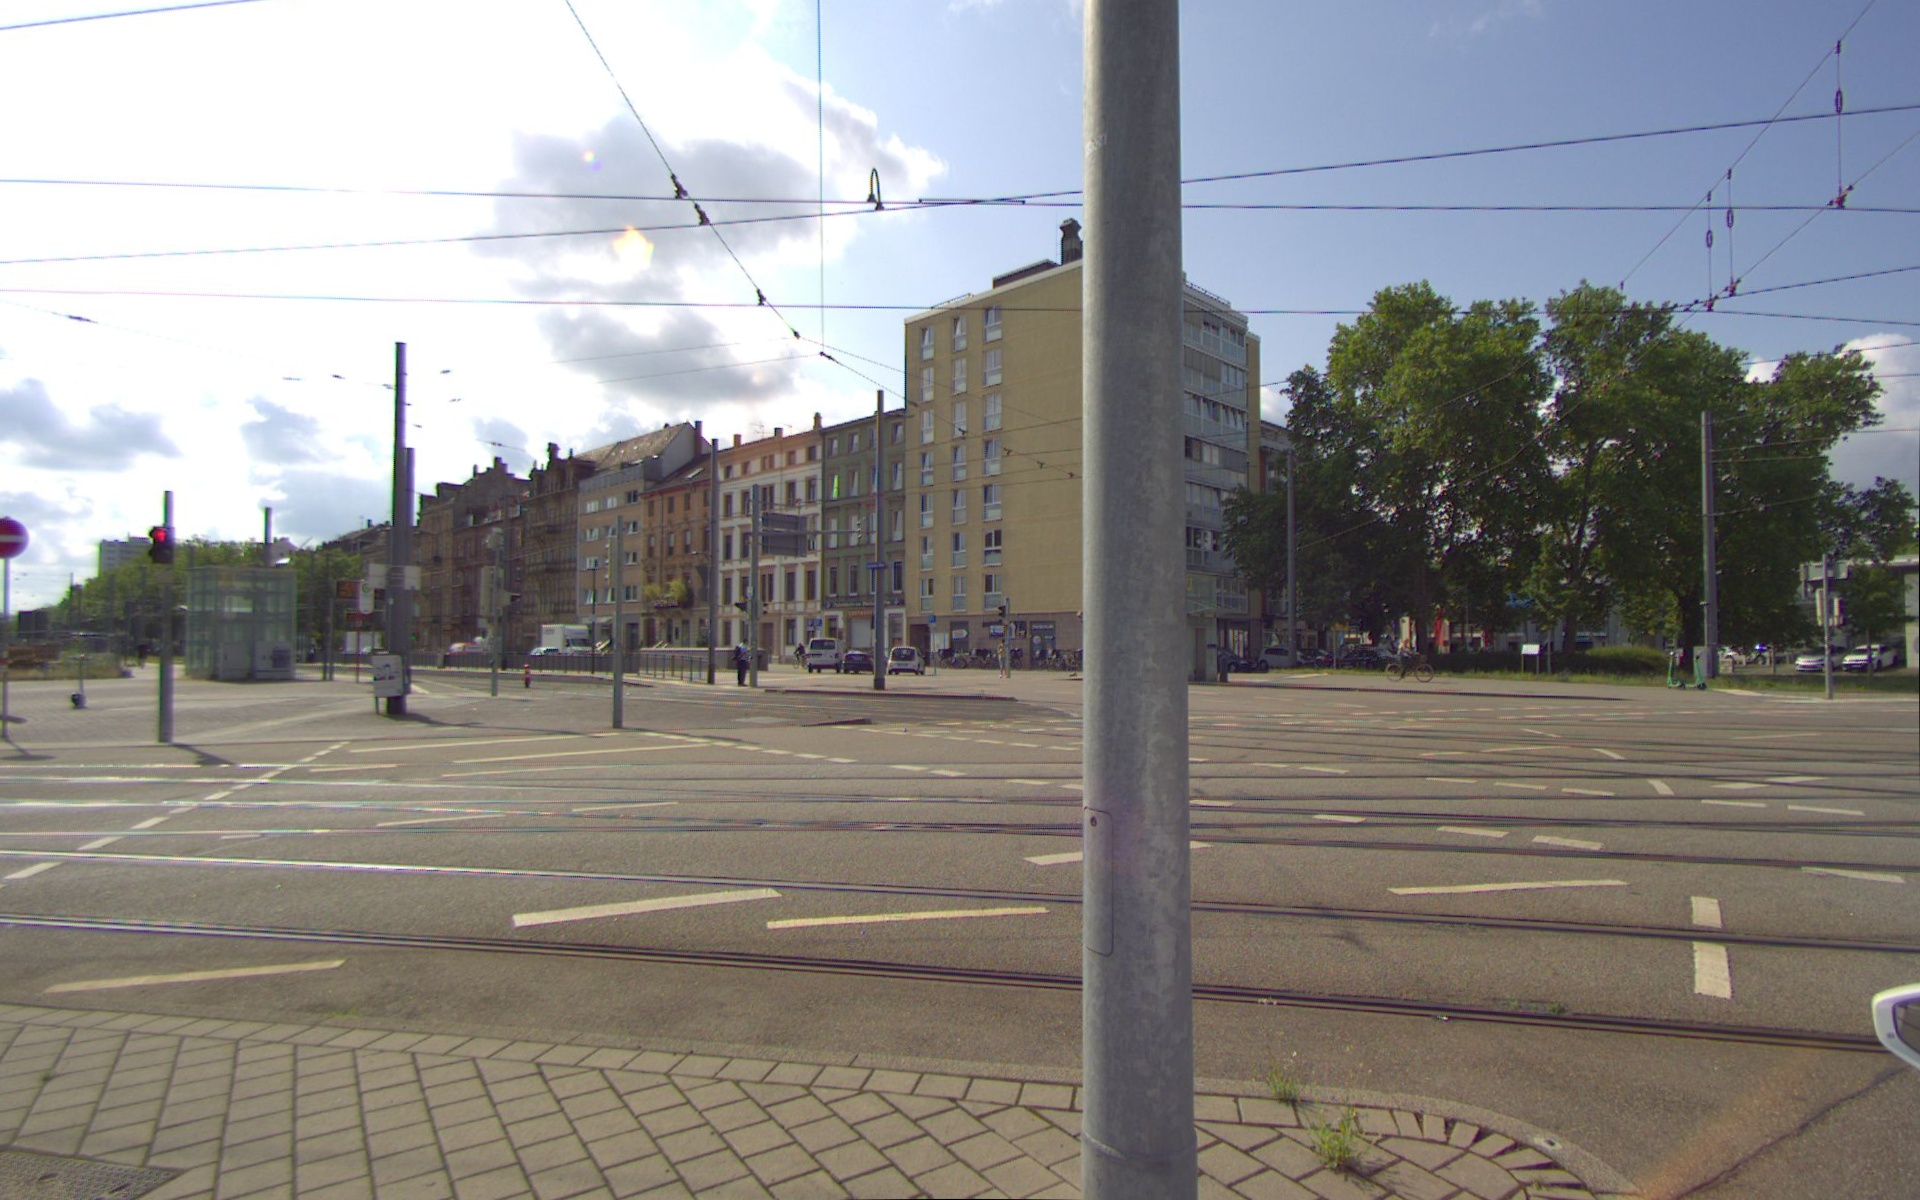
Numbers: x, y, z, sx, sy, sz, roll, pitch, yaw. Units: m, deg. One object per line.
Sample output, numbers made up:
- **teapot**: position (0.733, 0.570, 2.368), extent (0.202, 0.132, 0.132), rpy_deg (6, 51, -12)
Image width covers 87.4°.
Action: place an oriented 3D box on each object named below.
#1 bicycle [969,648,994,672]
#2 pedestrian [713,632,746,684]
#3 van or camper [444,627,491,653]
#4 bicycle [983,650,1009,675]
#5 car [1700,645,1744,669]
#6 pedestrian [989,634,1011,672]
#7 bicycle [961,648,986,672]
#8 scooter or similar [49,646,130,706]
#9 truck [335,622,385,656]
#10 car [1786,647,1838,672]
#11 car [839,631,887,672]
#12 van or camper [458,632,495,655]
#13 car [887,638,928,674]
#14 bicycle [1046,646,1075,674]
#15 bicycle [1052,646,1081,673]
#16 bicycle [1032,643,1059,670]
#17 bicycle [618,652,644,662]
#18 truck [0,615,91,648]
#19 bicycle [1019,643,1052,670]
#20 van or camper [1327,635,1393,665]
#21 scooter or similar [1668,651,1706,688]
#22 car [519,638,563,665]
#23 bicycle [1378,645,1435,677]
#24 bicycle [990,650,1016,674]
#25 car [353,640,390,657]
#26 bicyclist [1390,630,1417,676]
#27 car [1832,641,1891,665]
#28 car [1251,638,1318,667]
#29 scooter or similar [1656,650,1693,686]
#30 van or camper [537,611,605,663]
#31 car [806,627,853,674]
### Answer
- **bicycle**: position (1.319, 3.609, 60.871), extent (0.484, 1.218, 1.625), rpy_deg (0, 6, -40)
- **pedestrian**: position (-8.139, 2.039, 35.456), extent (0.784, 1.696, 0.840), rpy_deg (7, 7, 42)
- **van or camper**: position (-41.946, 3.363, 85.568), extent (4.455, 1.940, 2.005), rpy_deg (2, 1, 41)
- **bicycle**: position (2.103, 3.654, 59.245), extent (0.544, 1.218, 1.625), rpy_deg (0, 6, -40)
- **car**: position (57.805, 4.336, 76.178), extent (3.965, 1.617, 1.668), rpy_deg (1, 1, -39)
- **pedestrian**: position (1.899, 2.503, 47.305), extent (0.770, 1.782, 0.995), rpy_deg (-1, -2, 20)
- **bicycle**: position (0.806, 3.596, 60.638), extent (0.484, 1.218, 1.625), rpy_deg (0, 6, -40)
- **scooter or similar**: position (-19.872, 1.707, 22.928), extent (1.329, 1.205, 1.475), rpy_deg (1, 1, -43)
- **truck**: position (-65.526, 4.168, 109.632), extent (3.159, 3.330, 7.200), rpy_deg (-1, 1, -44)
- **car**: position (60.487, 4.189, 71.287), extent (3.963, 1.595, 1.979), rpy_deg (1, 1, -37)
- **car**: position (-5.247, 2.763, 55.025), extent (1.853, 1.488, 5.064), rpy_deg (3, 5, 3)
- **van or camper**: position (-54.021, 4.838, 112.170), extent (5.491, 2.506, 1.988), rpy_deg (-2, -3, 45)
- **car**: position (-2.764, 2.936, 53.342), extent (1.685, 1.460, 3.512), rpy_deg (4, 3, 4)
- **bicycle**: position (5.585, 3.342, 55.960), extent (0.527, 1.289, 1.625), rpy_deg (0, 6, -40)
- **bicycle**: position (5.961, 3.349, 56.344), extent (0.484, 1.289, 1.625), rpy_deg (0, 6, -40)
- **bicycle**: position (4.863, 3.211, 57.328), extent (0.484, 1.289, 1.625), rpy_deg (0, 6, -40)
- **bicycle**: position (-24.860, 4.283, 75.981), extent (1.735, 0.594, 0.638), rpy_deg (3, 5, 4)
- **truck**: position (-103.908, 3.620, 114.164), extent (2.433, 3.696, 7.418), rpy_deg (-2, -3, 39)
- **bicycle**: position (4.271, 3.195, 57.157), extent (1.859, 1.289, 0.486), rpy_deg (7, 7, 36)
- **van or camper**: position (39.178, 4.896, 98.527), extent (2.362, 2.502, 5.855), rpy_deg (1, 1, -27)
- **scooter or similar**: position (25.475, 2.433, 35.206), extent (0.911, 1.173, 0.381), rpy_deg (3, 5, 5)
- **car**: position (-33.793, 4.159, 80.976), extent (1.783, 1.457, 4.286), rpy_deg (-7, 9, -43)
- **bicycle**: position (17.847, 2.428, 40.154), extent (1.958, 1.142, 0.787), rpy_deg (2, 1, 33)
- **bicycle**: position (2.544, 3.663, 59.589), extent (0.484, 1.218, 1.625), rpy_deg (0, 6, -40)
- **car**: position (-55.185, 4.531, 94.164), extent (3.944, 1.528, 1.989), rpy_deg (-2, -3, 43)
- **bicyclist**: position (17.765, 2.099, 40.231), extent (0.814, 1.768, 0.710), rpy_deg (2, 1, 33)
- **car**: position (61.650, 3.603, 68.675), extent (3.957, 1.625, 2.056), rpy_deg (2, -3, -33)
- **car**: position (20.642, 3.339, 63.956), extent (3.525, 1.550, 1.988), rpy_deg (2, 1, 44)
- **scooter or similar**: position (25.470, 2.425, 35.800), extent (0.911, 1.173, 0.381), rpy_deg (4, 5, 17)
- **van or camper**: position (-33.176, 3.054, 85.453), extent (2.702, 3.376, 7.539), rpy_deg (-2, 7, -44)
- **car**: position (-7.529, 2.866, 58.418), extent (2.039, 2.113, 4.898), rpy_deg (3, 3, 0)
